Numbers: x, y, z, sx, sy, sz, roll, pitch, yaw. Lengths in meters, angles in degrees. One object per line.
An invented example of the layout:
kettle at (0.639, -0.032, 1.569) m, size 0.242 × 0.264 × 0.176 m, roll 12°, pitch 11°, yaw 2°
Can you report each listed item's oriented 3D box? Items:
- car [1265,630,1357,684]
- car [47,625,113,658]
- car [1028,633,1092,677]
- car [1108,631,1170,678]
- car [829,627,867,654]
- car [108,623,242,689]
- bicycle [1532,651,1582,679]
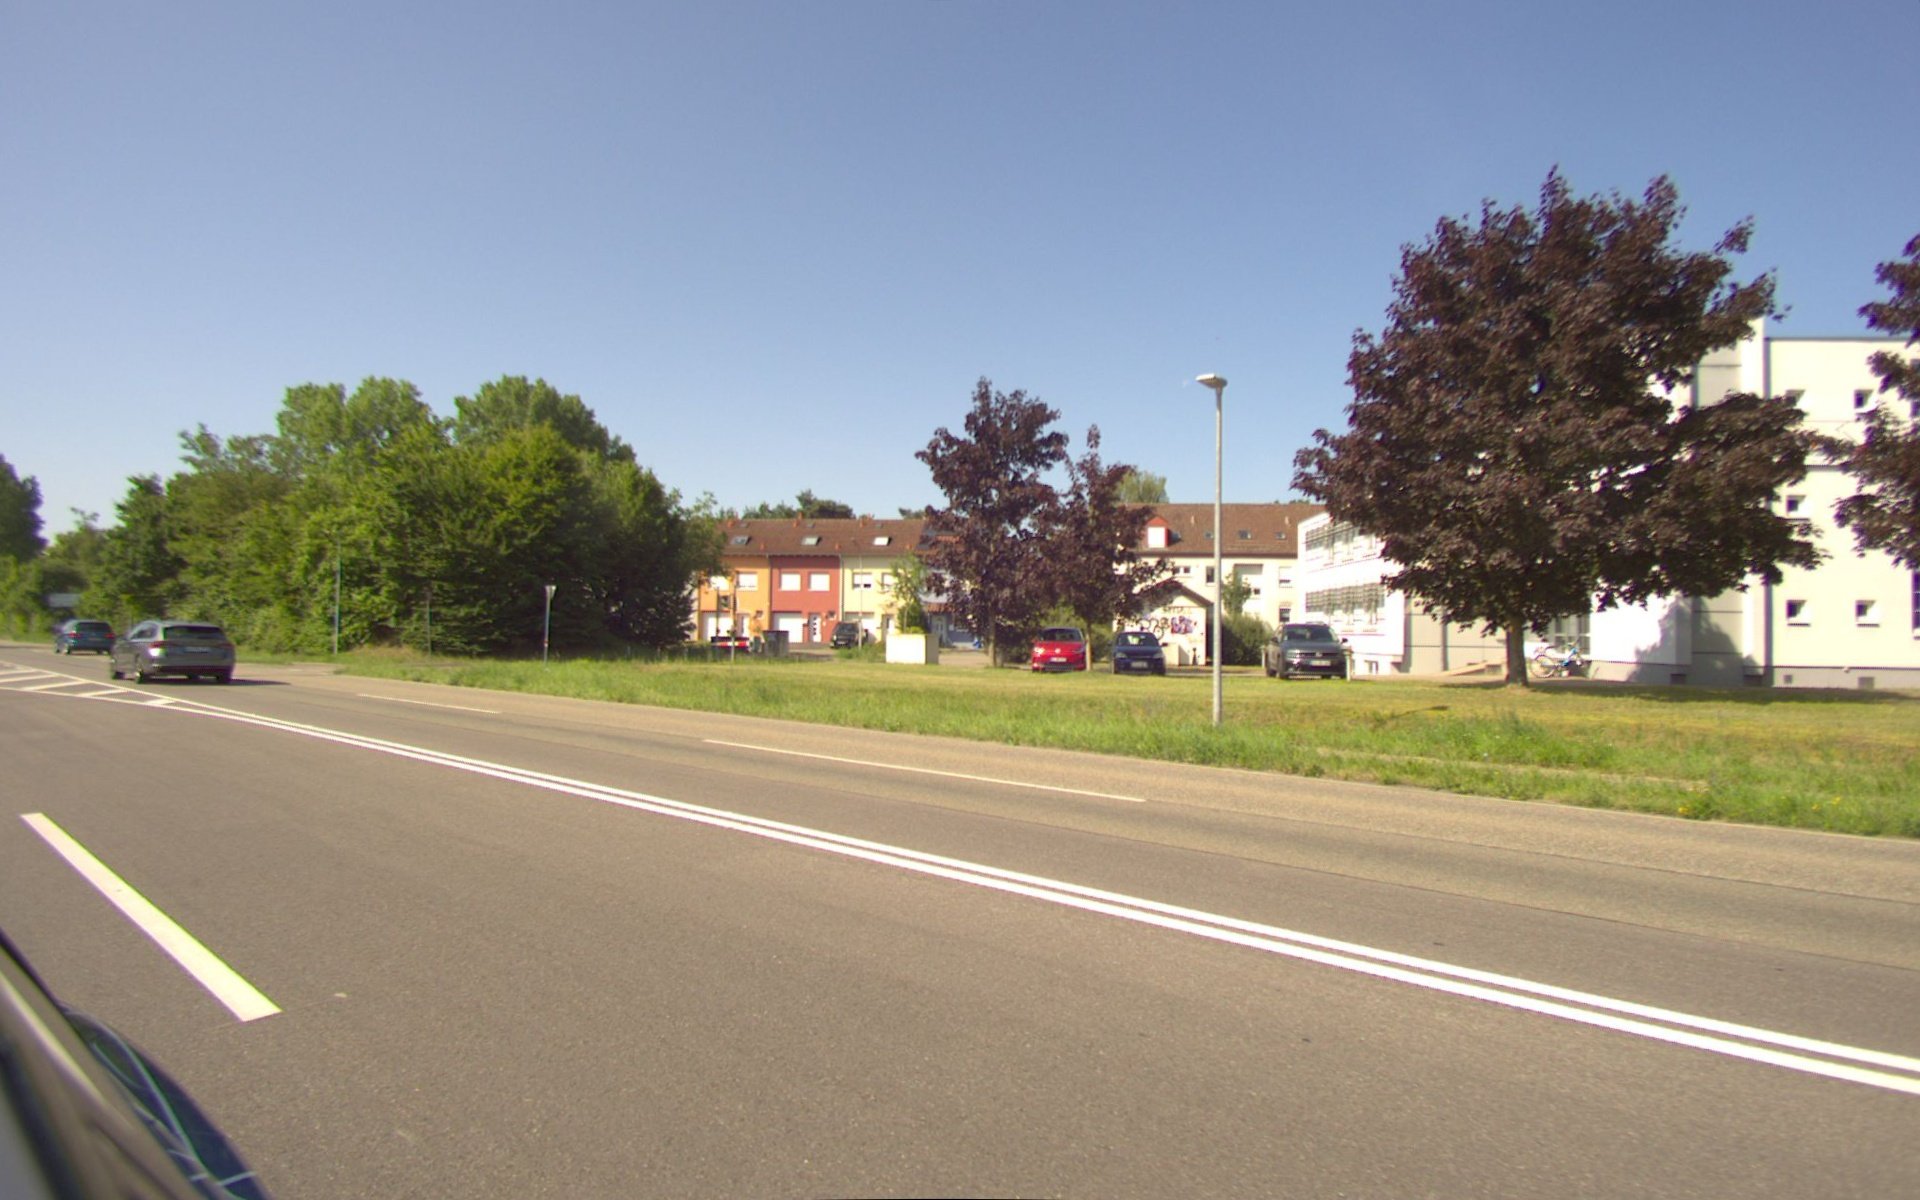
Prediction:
car at (9.684, 1.567, 28.207) m, size 1.803 × 1.381 × 3.986 m, roll -1°, pitch -3°, yaw 10°
car at (-39.886, 1.886, 45.849) m, size 3.998 × 1.422 × 1.745 m, roll -3°, pitch -4°, yaw 42°
car at (3.382, 1.820, 33.820) m, size 1.803 × 1.381 × 3.986 m, roll -1°, pitch -3°, yaw 10°
car at (5.692, 1.721, 32.120) m, size 1.803 × 1.381 × 3.986 m, roll -1°, pitch -3°, yaw 10°
car at (-7.568, 2.732, 68.890) m, size 1.974 × 1.595 × 3.996 m, roll 0°, pitch 0°, yaw 3°
car at (-18.616, 1.311, 23.938) m, size 4.172 × 1.422 × 1.745 m, roll -3°, pitch -4°, yaw 42°
bicycle at (18.071, 1.950, 30.657) m, size 1.238 × 0.818 × 0.408 m, roll 0°, pitch -2°, yaw 17°
